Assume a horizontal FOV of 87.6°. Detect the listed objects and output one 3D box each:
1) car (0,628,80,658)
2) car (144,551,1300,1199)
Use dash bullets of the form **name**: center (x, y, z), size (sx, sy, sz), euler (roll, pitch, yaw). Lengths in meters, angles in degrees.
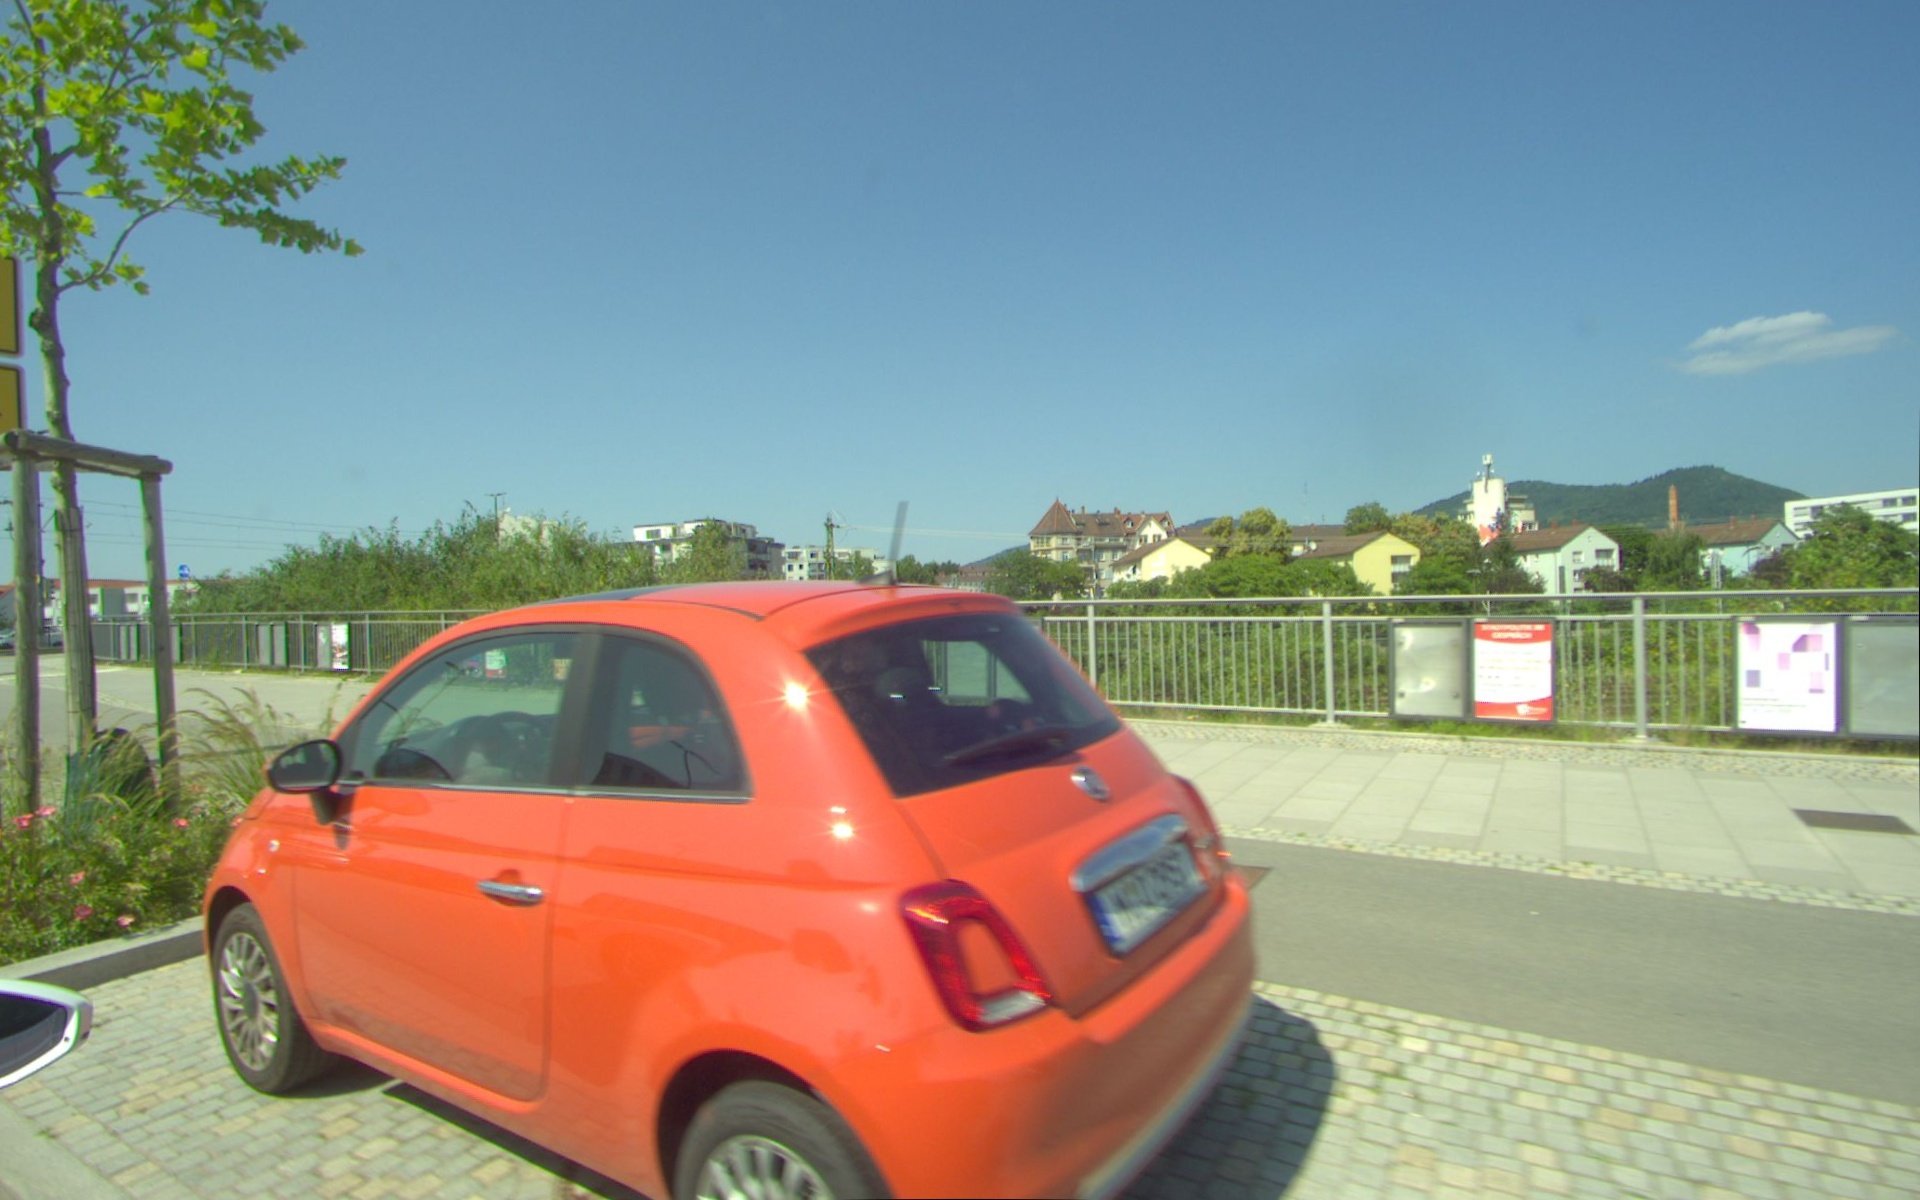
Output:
- **car**: center (-49.017, 2.250, 52.792), size (1.660, 1.505, 3.632), euler (-1, -2, 17)
- **car**: center (-0.868, 0.687, 3.056), size (3.306, 1.517, 1.605), euler (-1, 2, 34)
